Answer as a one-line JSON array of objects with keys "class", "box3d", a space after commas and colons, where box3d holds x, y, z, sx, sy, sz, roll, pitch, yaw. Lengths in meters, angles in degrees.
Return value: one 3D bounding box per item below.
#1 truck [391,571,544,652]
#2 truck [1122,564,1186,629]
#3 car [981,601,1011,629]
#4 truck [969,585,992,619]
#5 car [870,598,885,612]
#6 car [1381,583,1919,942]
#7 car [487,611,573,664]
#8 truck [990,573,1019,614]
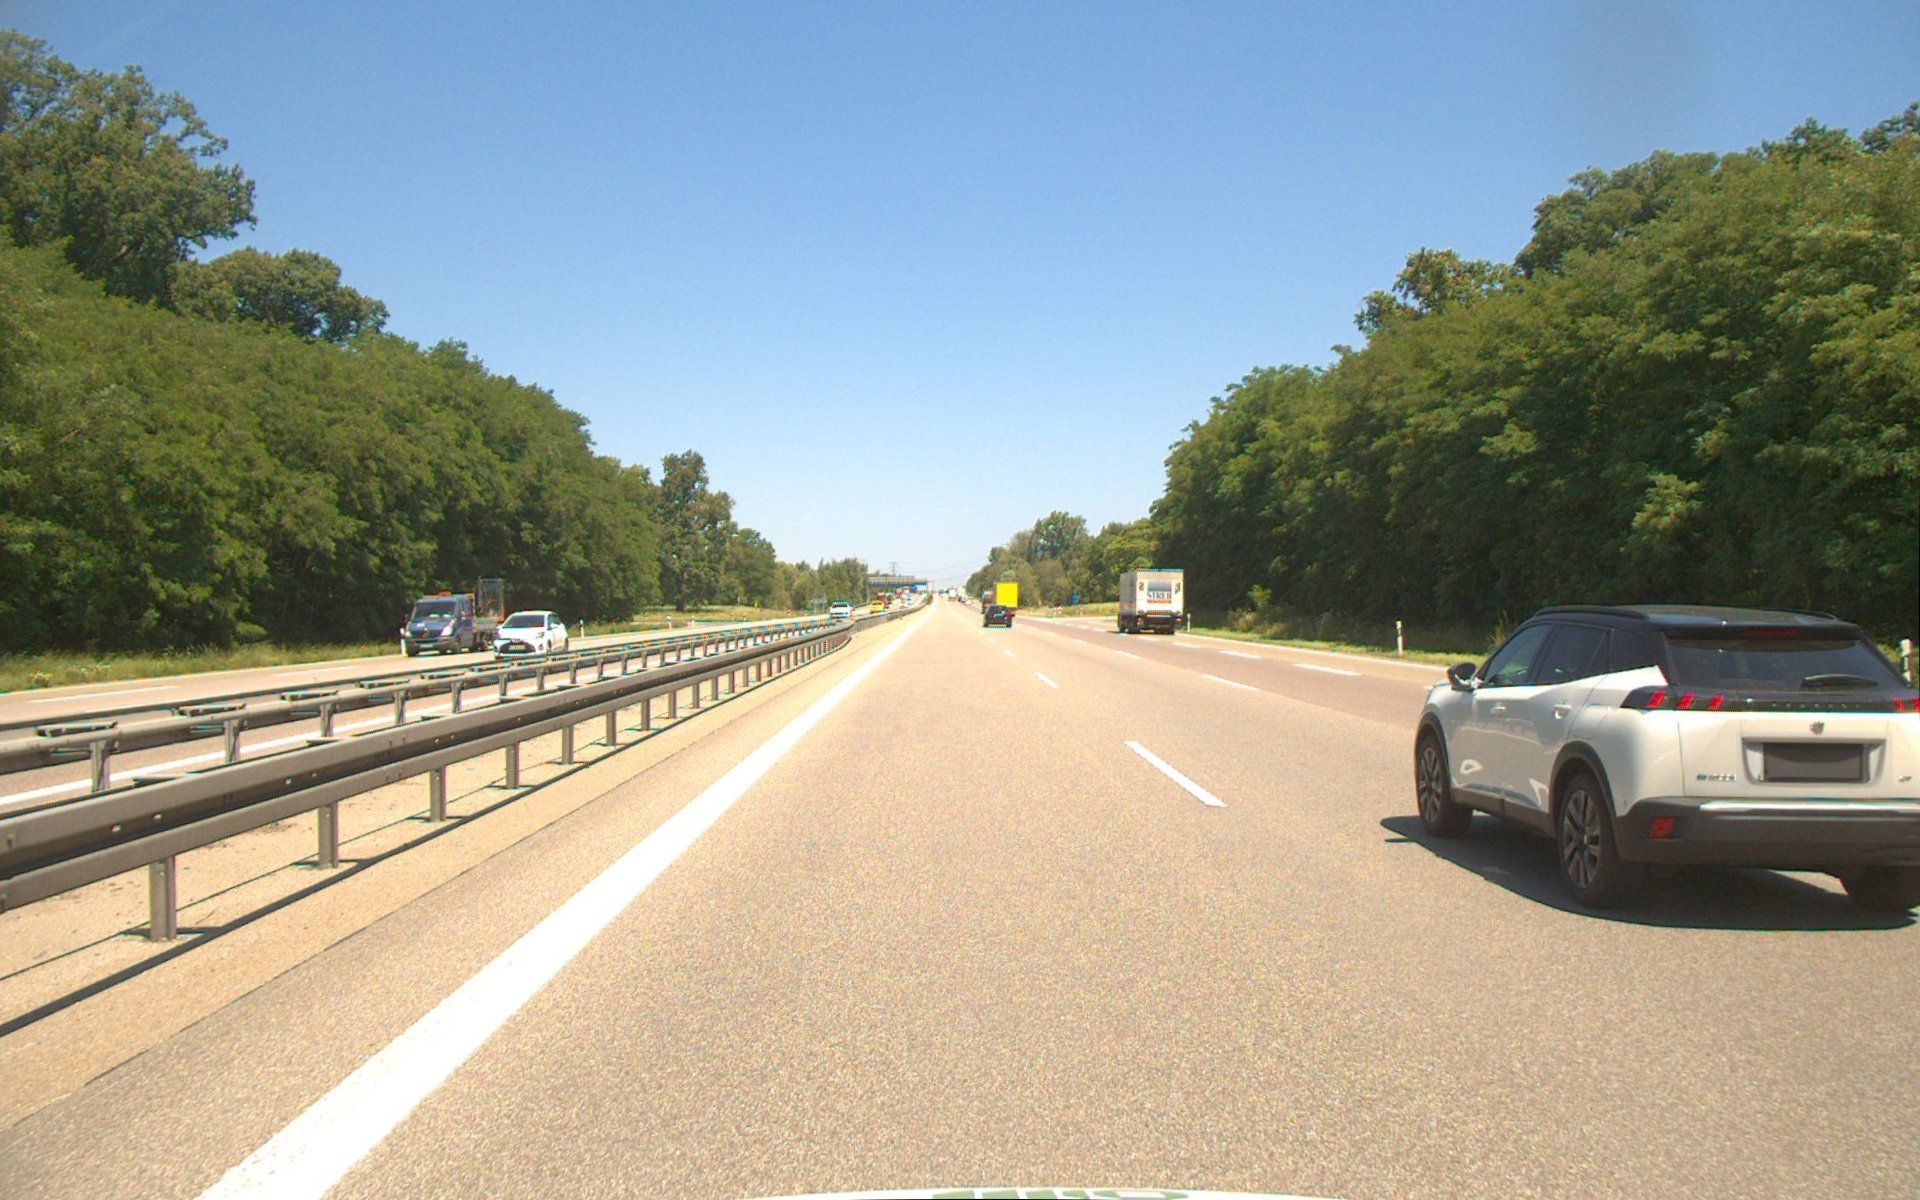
[{"class": "truck", "box3d": [-20.464, 0.464, 69.732, 2.697, 3.043, 12.853, -1, 0, -1]}, {"class": "truck", "box3d": [10.741, -0.145, 92.538, 2.965, 3.377, 10.775, 1, 0, 4]}, {"class": "car", "box3d": [2.363, 0.974, 108.102, 1.790, 1.736, 3.999, 1, 0, -1]}, {"class": "truck", "box3d": [3.012, 0.284, 251.447, 3.298, 4.966, 15.085, 1, 0, 0]}, {"class": "car", "box3d": [-12.138, 0.679, 243.270, 1.953, 1.998, 5.210, 1, 0, -1]}, {"class": "car", "box3d": [4.080, 0.754, 9.978, 1.790, 1.636, 4.807, 0, 0, -1]}, {"class": "car", "box3d": [-13.572, 1.157, 52.402, 1.654, 1.571, 4.203, 1, 0, -1]}, {"class": "truck", "box3d": [5.558, -0.747, 207.942, 3.308, 4.966, 15.085, 1, 0, 0]}]
